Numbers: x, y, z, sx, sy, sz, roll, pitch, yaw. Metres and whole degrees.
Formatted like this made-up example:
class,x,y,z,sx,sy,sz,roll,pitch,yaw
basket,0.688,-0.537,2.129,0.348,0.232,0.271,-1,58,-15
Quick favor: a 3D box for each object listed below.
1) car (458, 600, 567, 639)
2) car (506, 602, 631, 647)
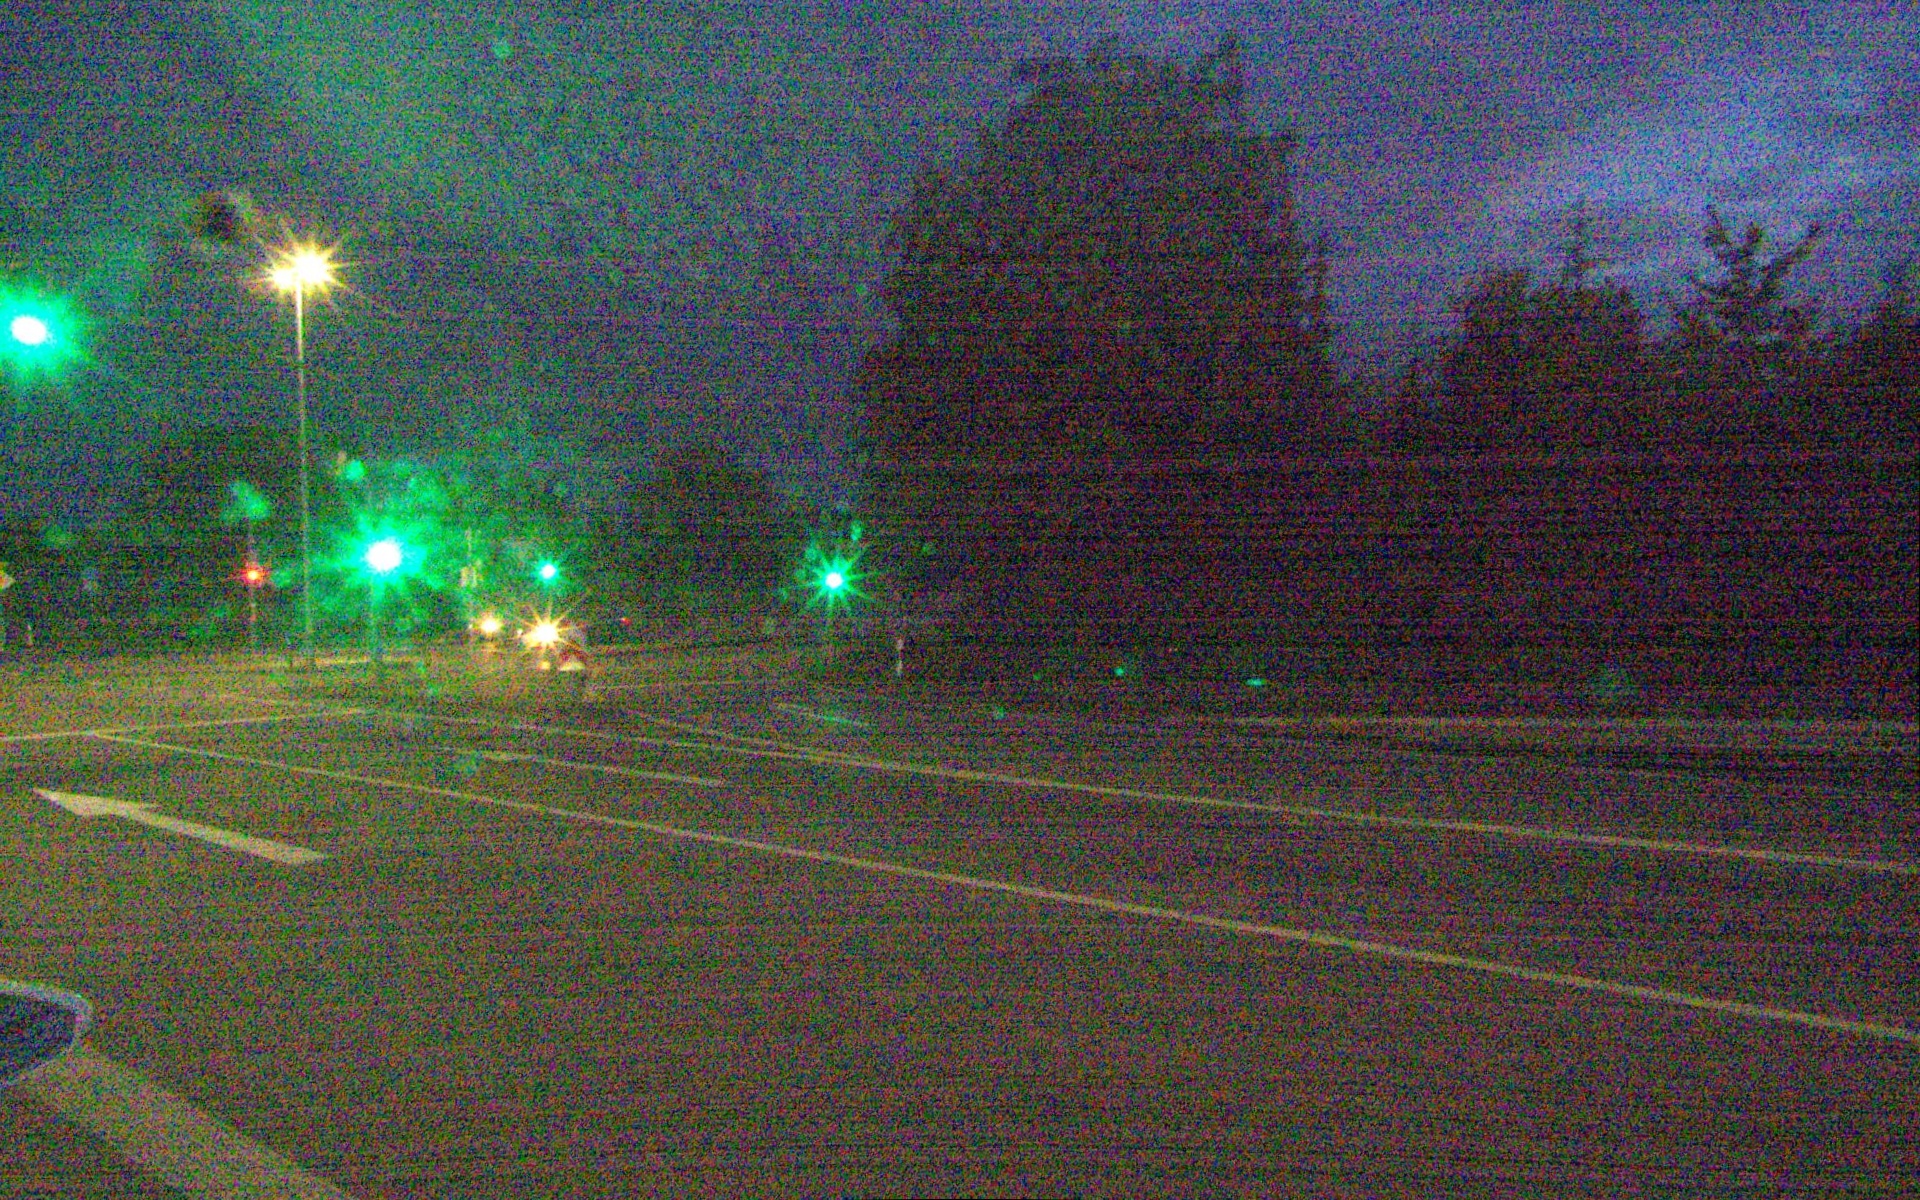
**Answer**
class,x,y,z,sx,sy,sz,roll,pitch,yaw
car,-19.152,0.788,43.033,1.871,1.590,3.983,0,0,29
car,-14.613,0.885,37.600,1.972,1.590,4.070,0,0,29
